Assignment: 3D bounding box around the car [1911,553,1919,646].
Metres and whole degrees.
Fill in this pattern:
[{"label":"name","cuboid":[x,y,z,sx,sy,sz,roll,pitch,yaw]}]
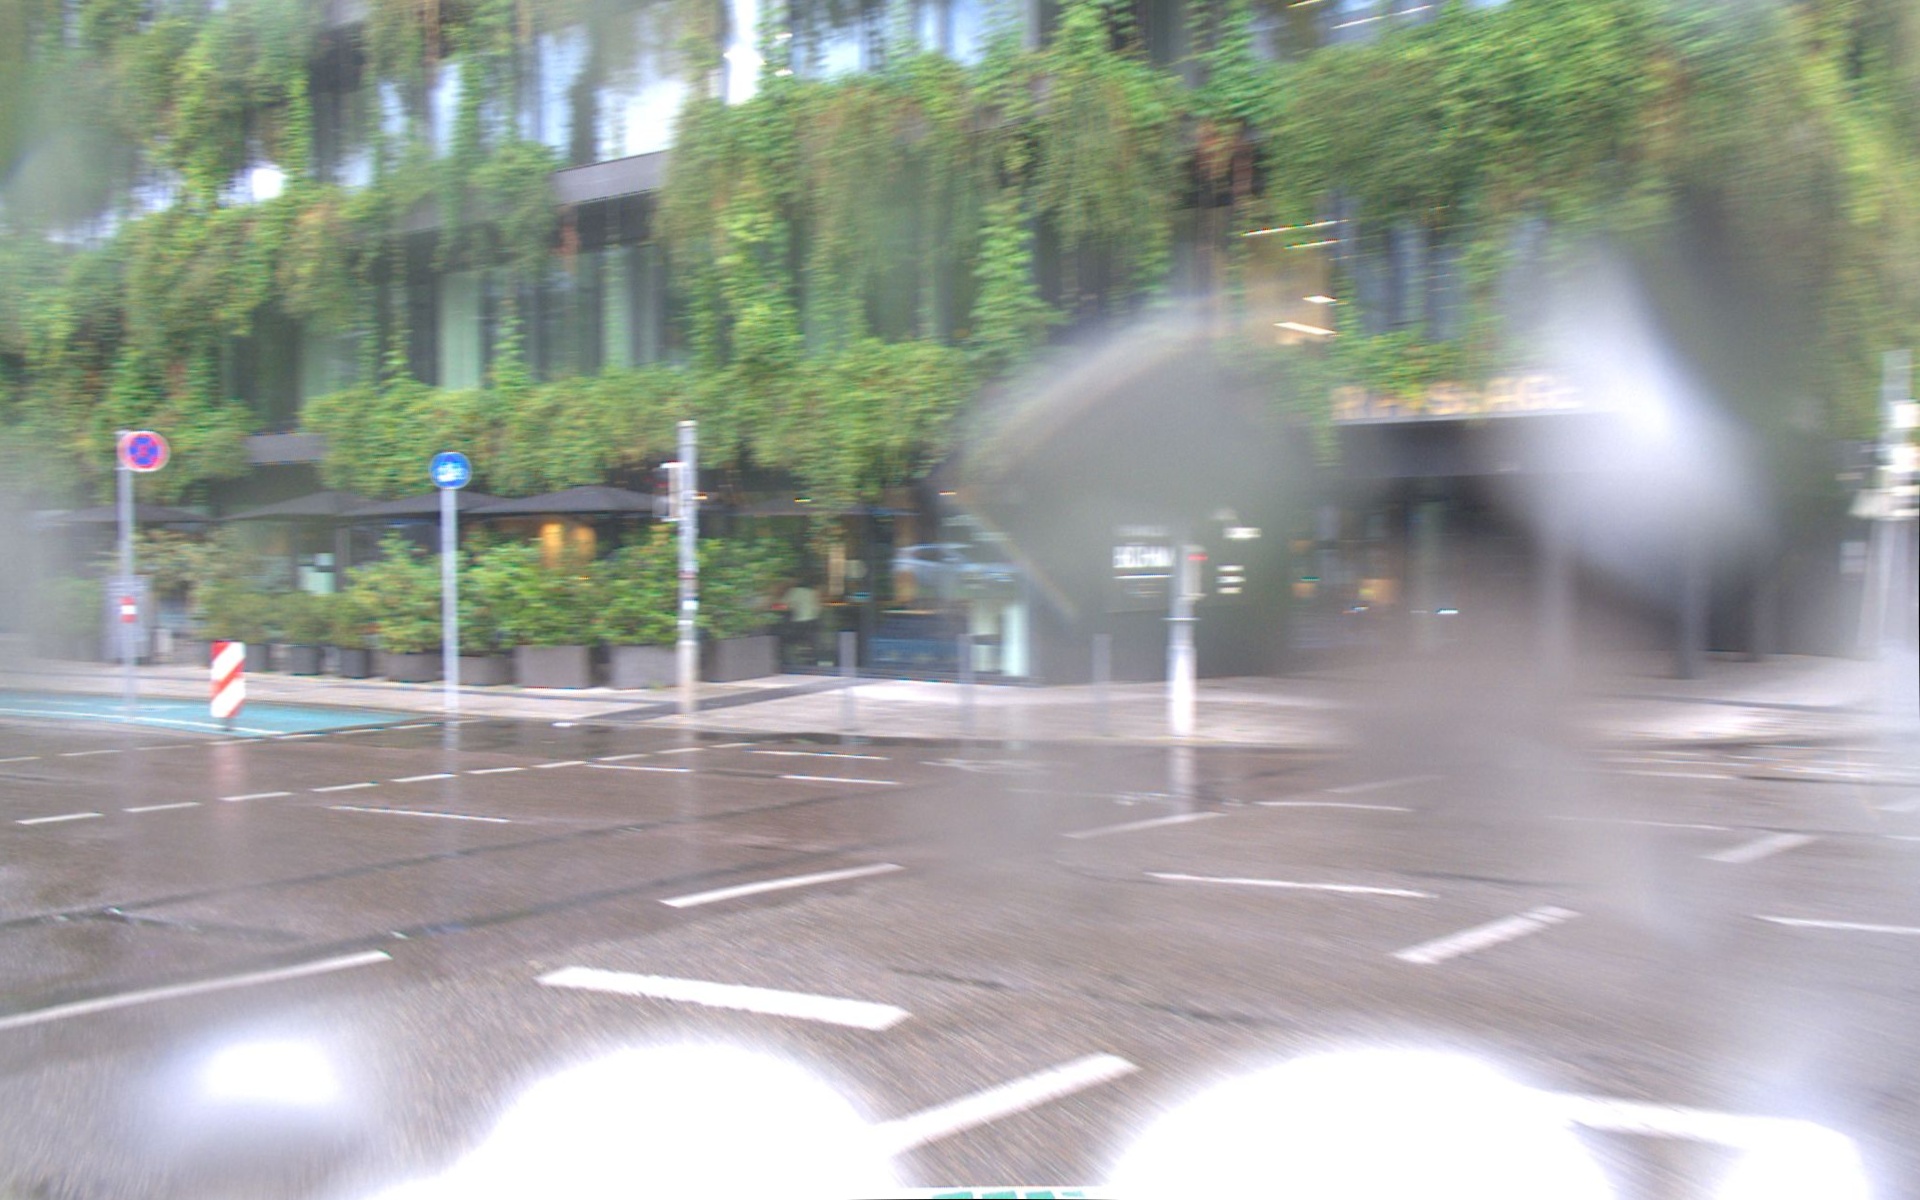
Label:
[{"label":"car","cuboid":[22.458,-0.025,36.605,2.076,1.990,4.854,0,1,34]}]
